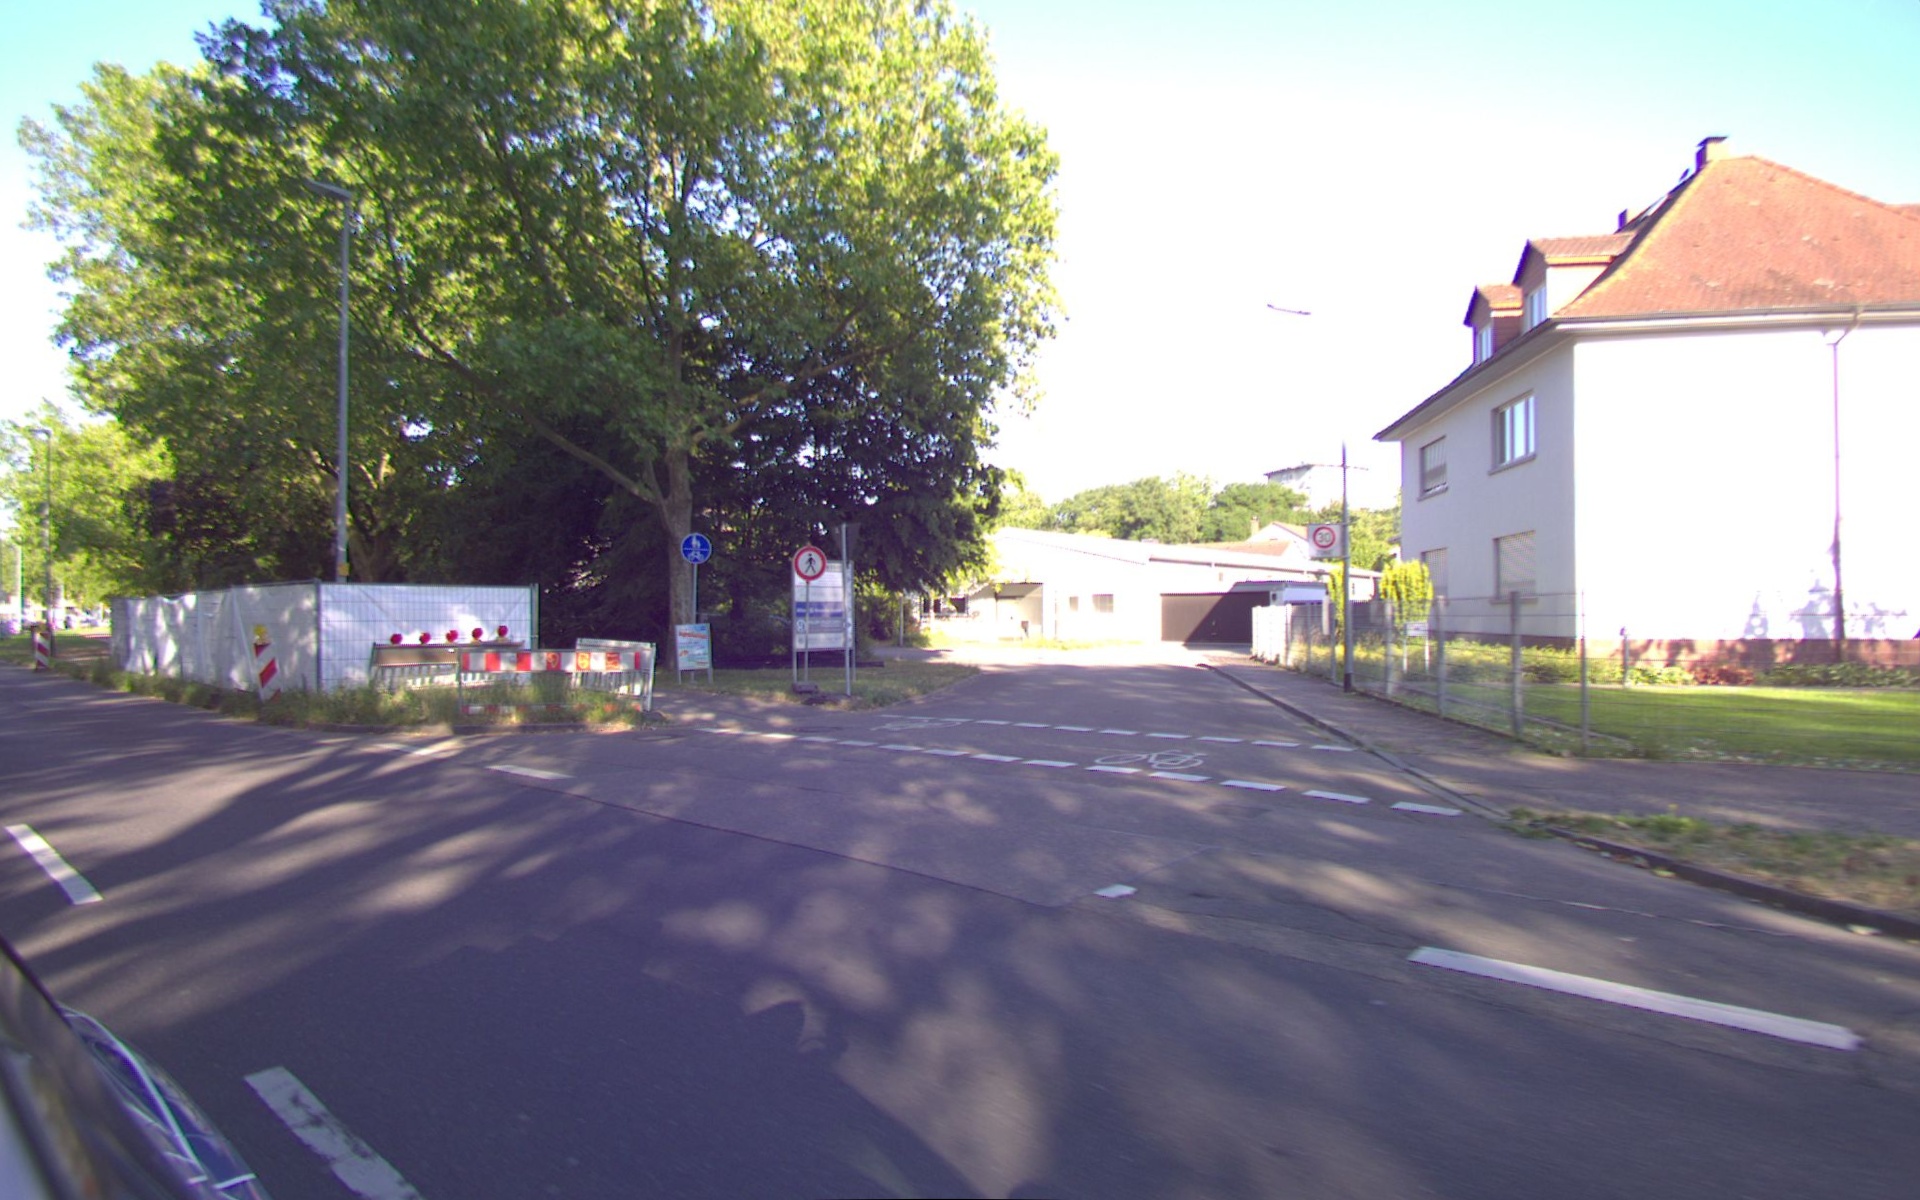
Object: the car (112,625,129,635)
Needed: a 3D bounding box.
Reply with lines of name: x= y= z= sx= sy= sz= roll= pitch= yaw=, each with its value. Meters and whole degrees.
car: x=-138.852 y=5.005 z=167.394 sx=1.737 sy=1.494 sz=4.119 roll=-2 pitch=0 yaw=-33
